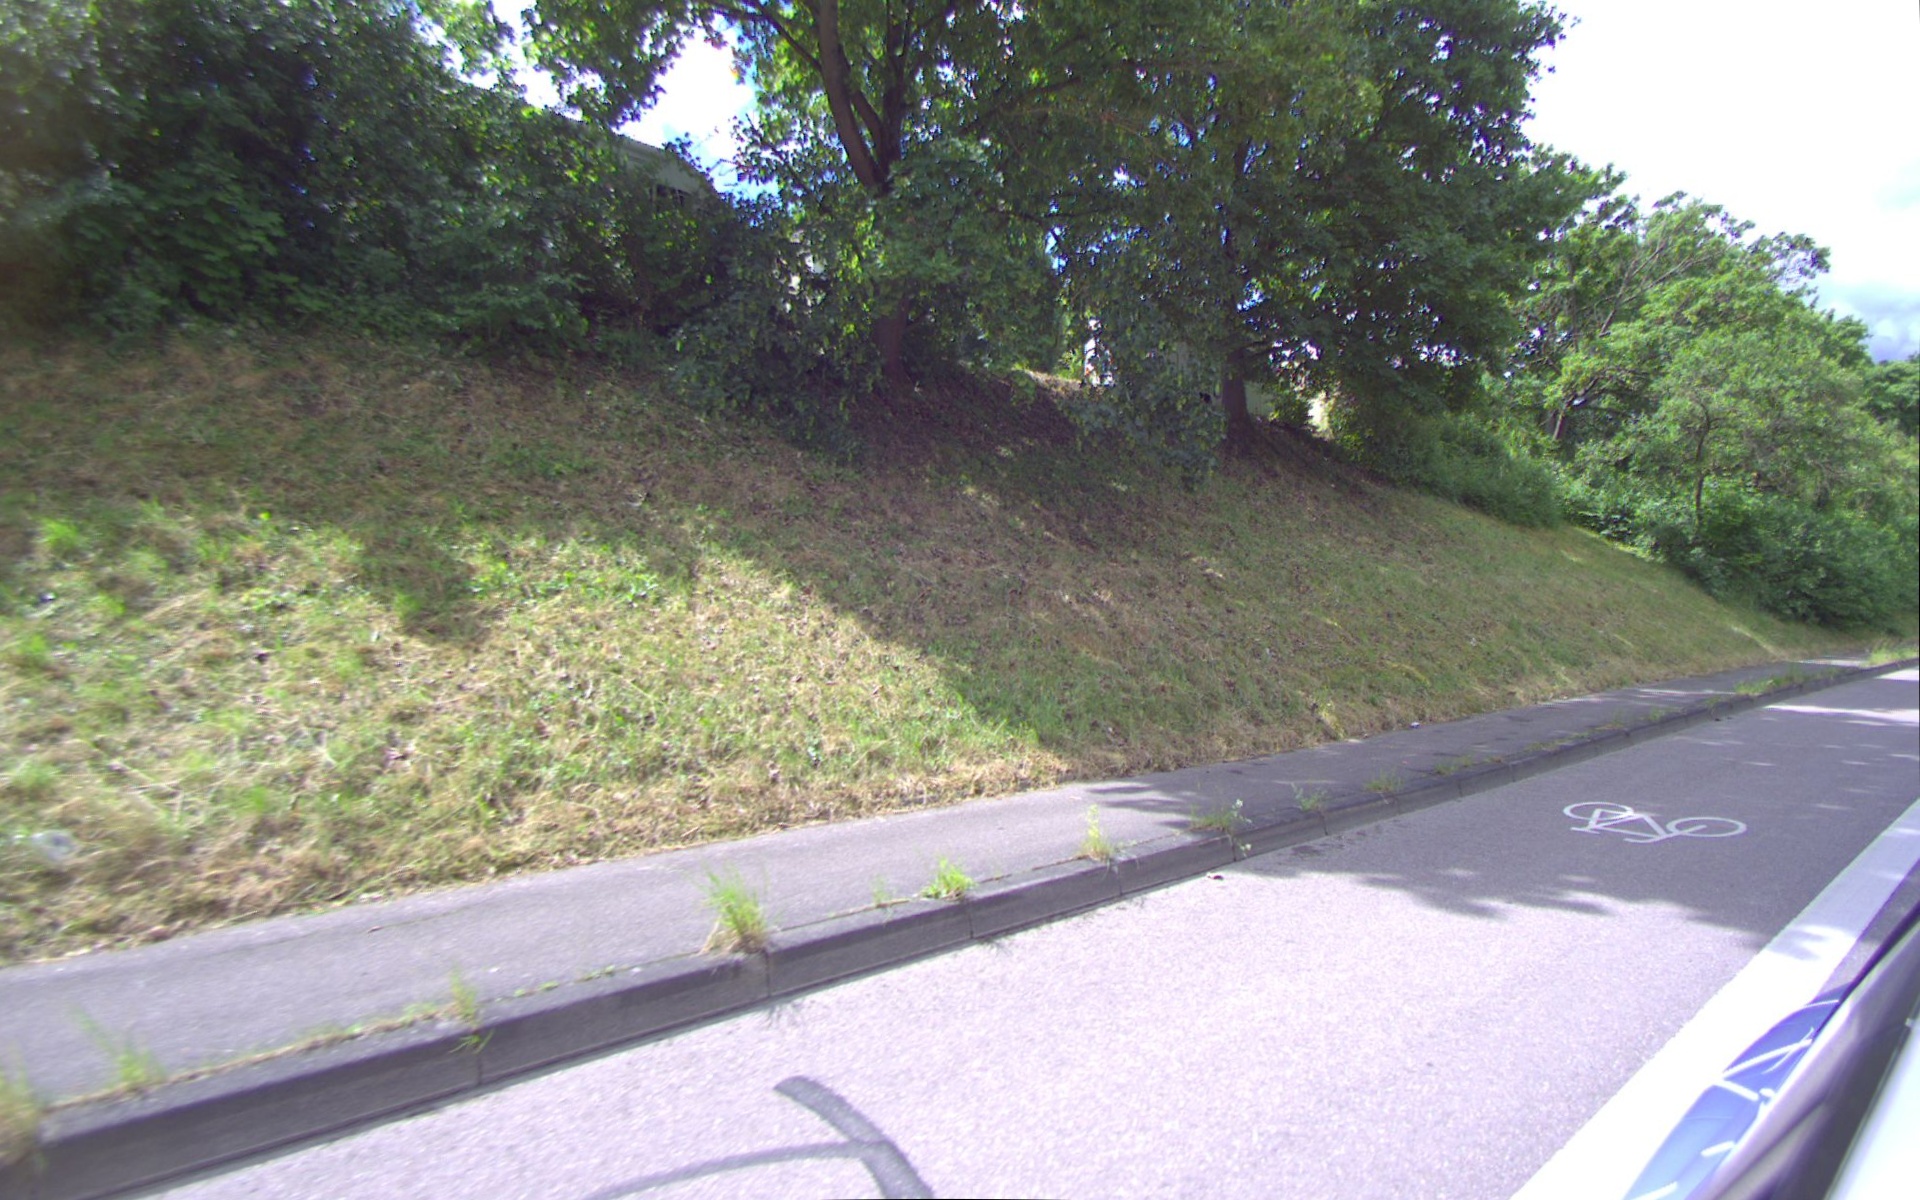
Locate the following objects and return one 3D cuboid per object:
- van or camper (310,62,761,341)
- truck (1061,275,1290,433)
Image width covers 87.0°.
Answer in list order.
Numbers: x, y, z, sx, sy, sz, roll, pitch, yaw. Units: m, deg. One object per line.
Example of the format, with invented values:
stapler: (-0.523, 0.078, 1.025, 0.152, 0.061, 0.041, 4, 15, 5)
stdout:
van or camper: (-6.277, -5.753, 15.631, 6.058, 2.095, 2.219, 0, 1, -43)
truck: (5.872, -6.271, 26.856, 6.919, 2.692, 2.354, 0, 1, -42)
